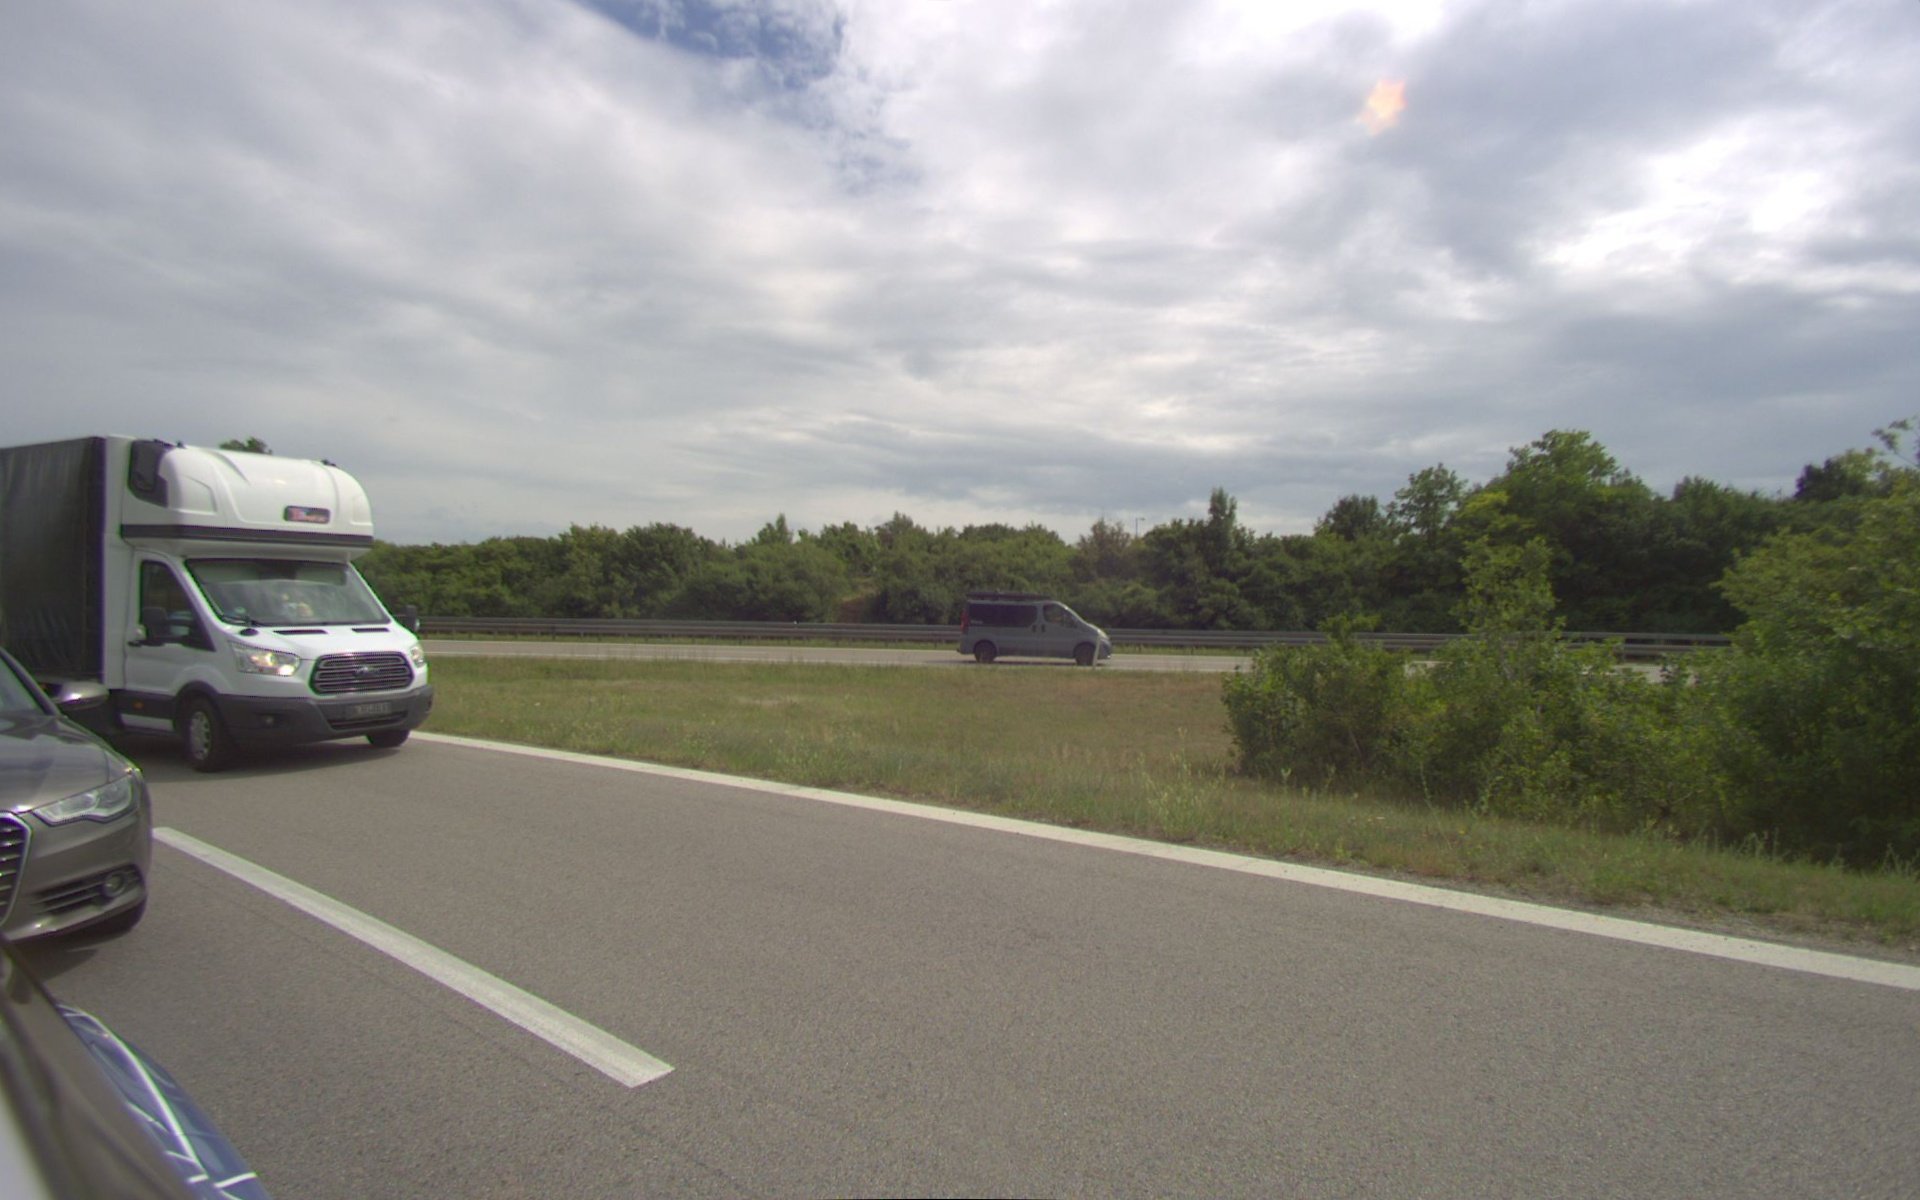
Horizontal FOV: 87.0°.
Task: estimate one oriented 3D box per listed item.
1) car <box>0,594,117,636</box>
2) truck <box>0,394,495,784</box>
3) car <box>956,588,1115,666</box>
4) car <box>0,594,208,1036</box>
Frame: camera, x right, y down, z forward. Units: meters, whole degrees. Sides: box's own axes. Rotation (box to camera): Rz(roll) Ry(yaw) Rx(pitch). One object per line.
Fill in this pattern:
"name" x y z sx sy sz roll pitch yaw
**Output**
"car" -36.995 0.580 40.710 4.669 1.611 1.997 1 -1 5
"truck" -8.738 -0.054 11.084 7.429 3.191 2.546 -1 0 27
"car" 2.353 0.811 31.506 4.750 2.276 1.996 1 0 6
"car" -5.303 0.772 4.658 4.534 1.526 1.973 -1 -1 40
